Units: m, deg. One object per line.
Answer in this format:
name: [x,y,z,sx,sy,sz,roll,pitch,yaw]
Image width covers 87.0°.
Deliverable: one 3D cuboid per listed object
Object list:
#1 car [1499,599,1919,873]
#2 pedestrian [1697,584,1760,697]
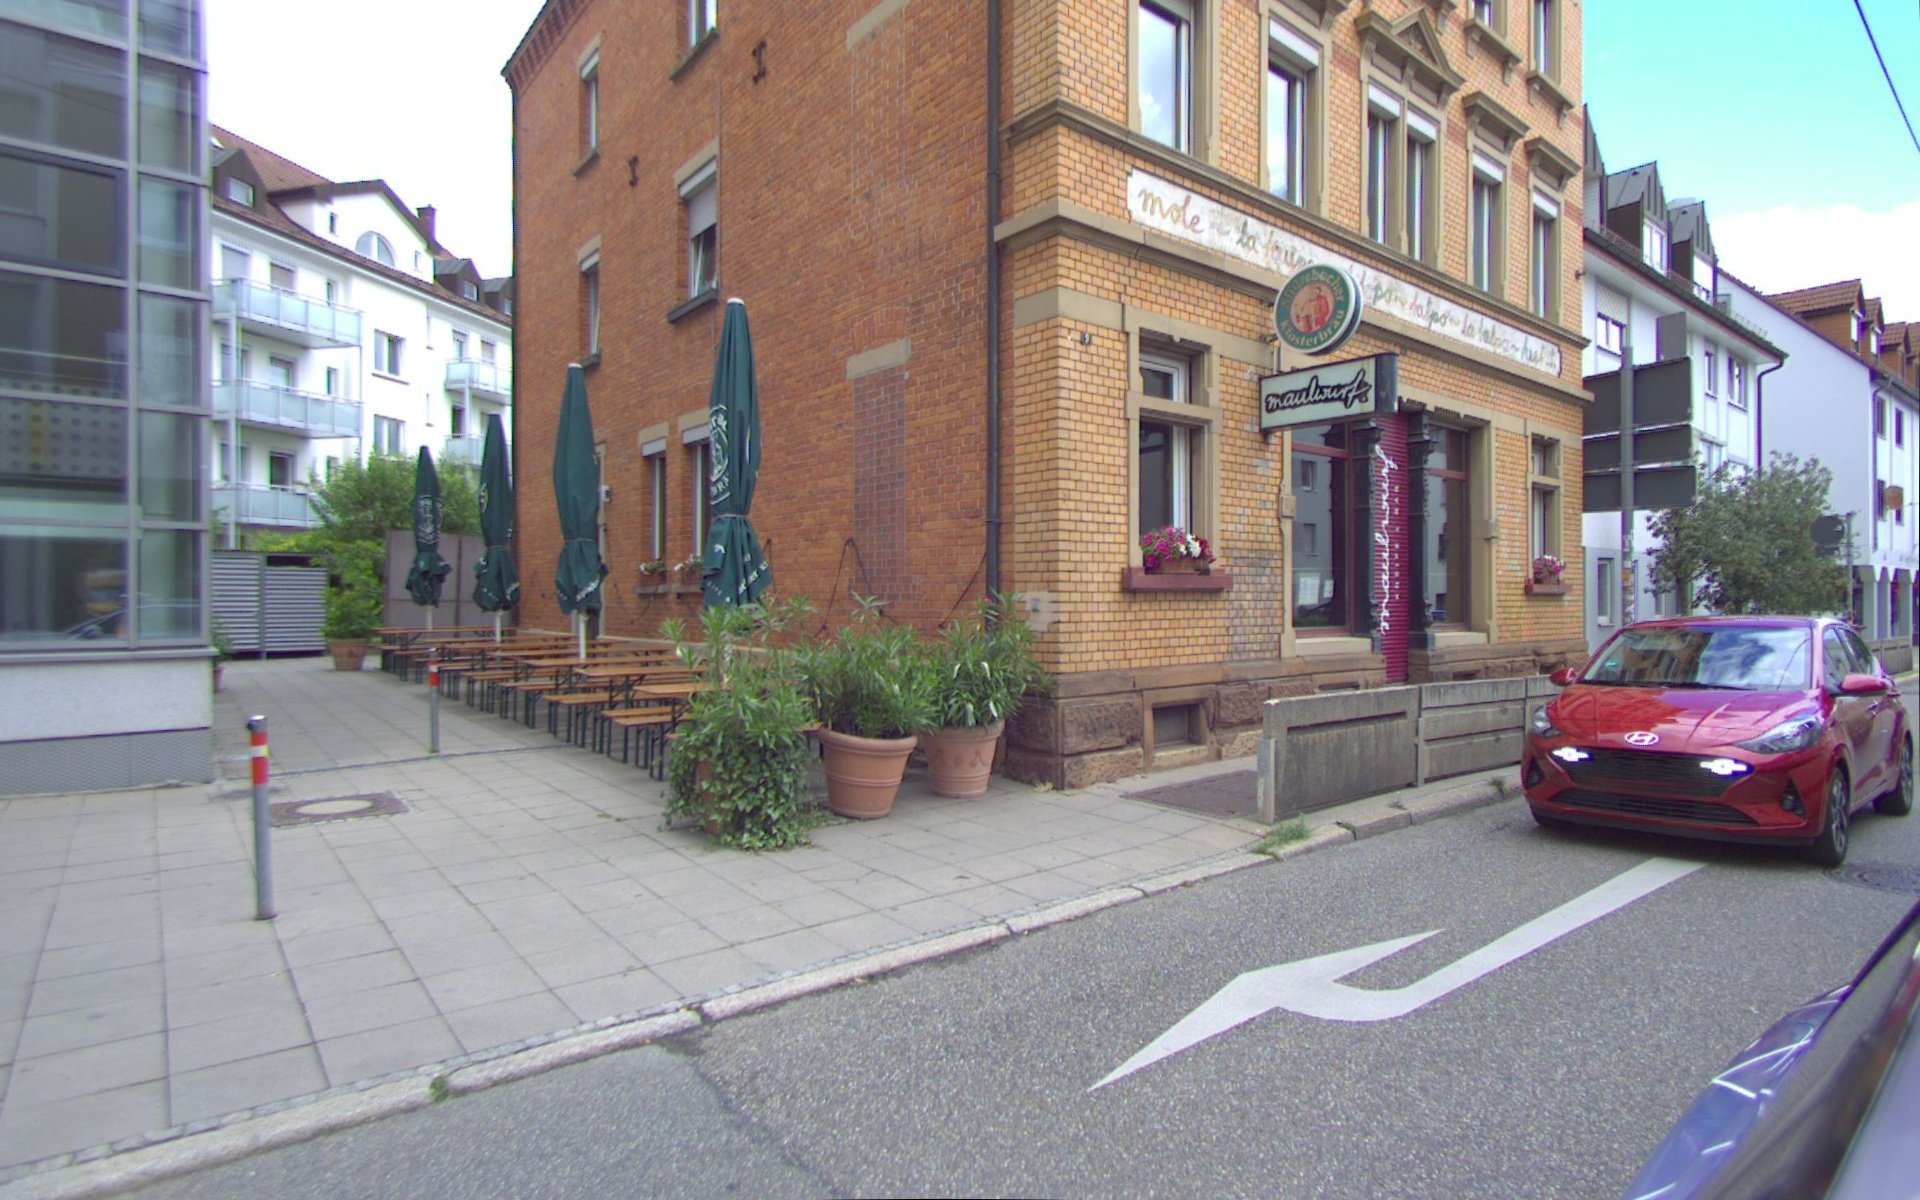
car: [5.691,0.757,7.363,3.928,1.471,1.701,0,-2,-39]
pedestrian: [12.225,0.620,16.101,0.638,1.753,0.689,1,0,-41]
